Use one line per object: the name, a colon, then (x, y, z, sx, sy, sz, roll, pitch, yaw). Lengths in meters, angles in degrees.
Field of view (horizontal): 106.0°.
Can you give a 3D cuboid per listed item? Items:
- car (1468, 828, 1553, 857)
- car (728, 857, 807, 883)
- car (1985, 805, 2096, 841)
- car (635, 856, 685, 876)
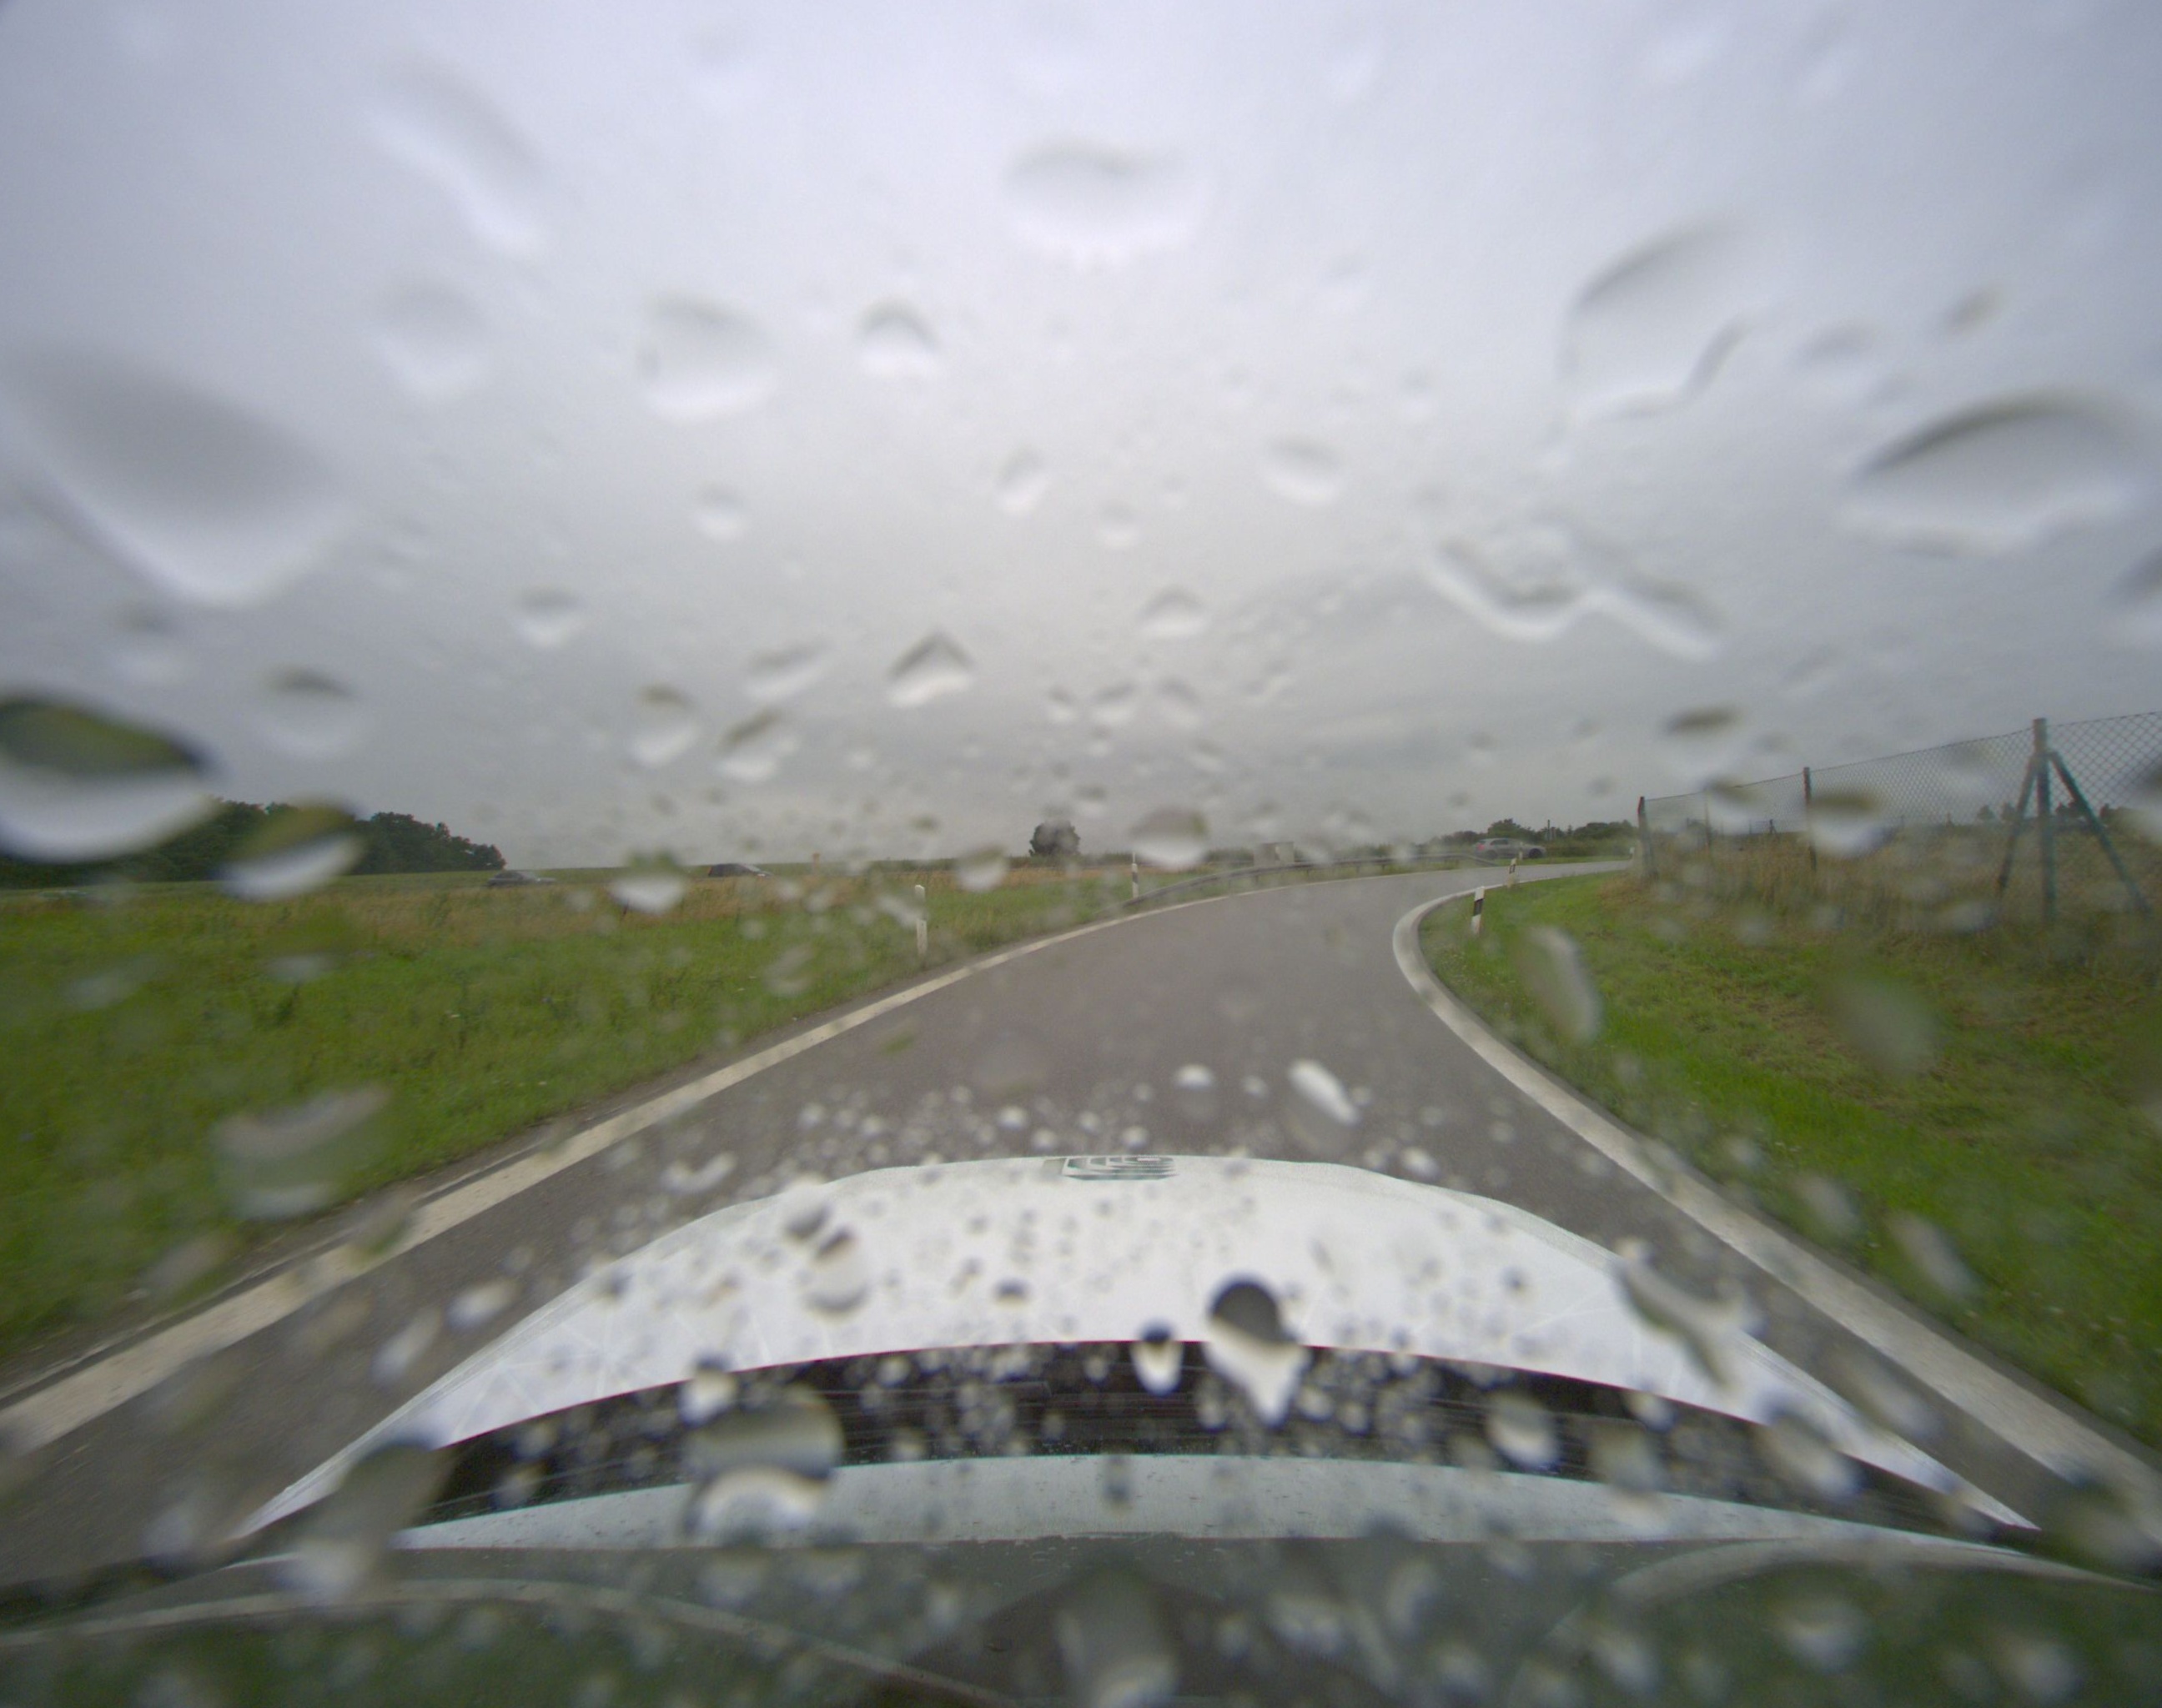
car: (27.383, -0.714, 52.032, 4.312, 1.636, 2.064, -2, 0, 7)
car: (-21.492, 1.059, 55.936, 4.555, 1.636, 2.157, -1, 0, 7)
car: (57.984, -1.849, 49.284, 3.966, 1.698, 2.004, -4, -3, 7)
car: (-41.435, 1.160, 80.157, 3.970, 1.736, 1.737, -2, 0, 3)
